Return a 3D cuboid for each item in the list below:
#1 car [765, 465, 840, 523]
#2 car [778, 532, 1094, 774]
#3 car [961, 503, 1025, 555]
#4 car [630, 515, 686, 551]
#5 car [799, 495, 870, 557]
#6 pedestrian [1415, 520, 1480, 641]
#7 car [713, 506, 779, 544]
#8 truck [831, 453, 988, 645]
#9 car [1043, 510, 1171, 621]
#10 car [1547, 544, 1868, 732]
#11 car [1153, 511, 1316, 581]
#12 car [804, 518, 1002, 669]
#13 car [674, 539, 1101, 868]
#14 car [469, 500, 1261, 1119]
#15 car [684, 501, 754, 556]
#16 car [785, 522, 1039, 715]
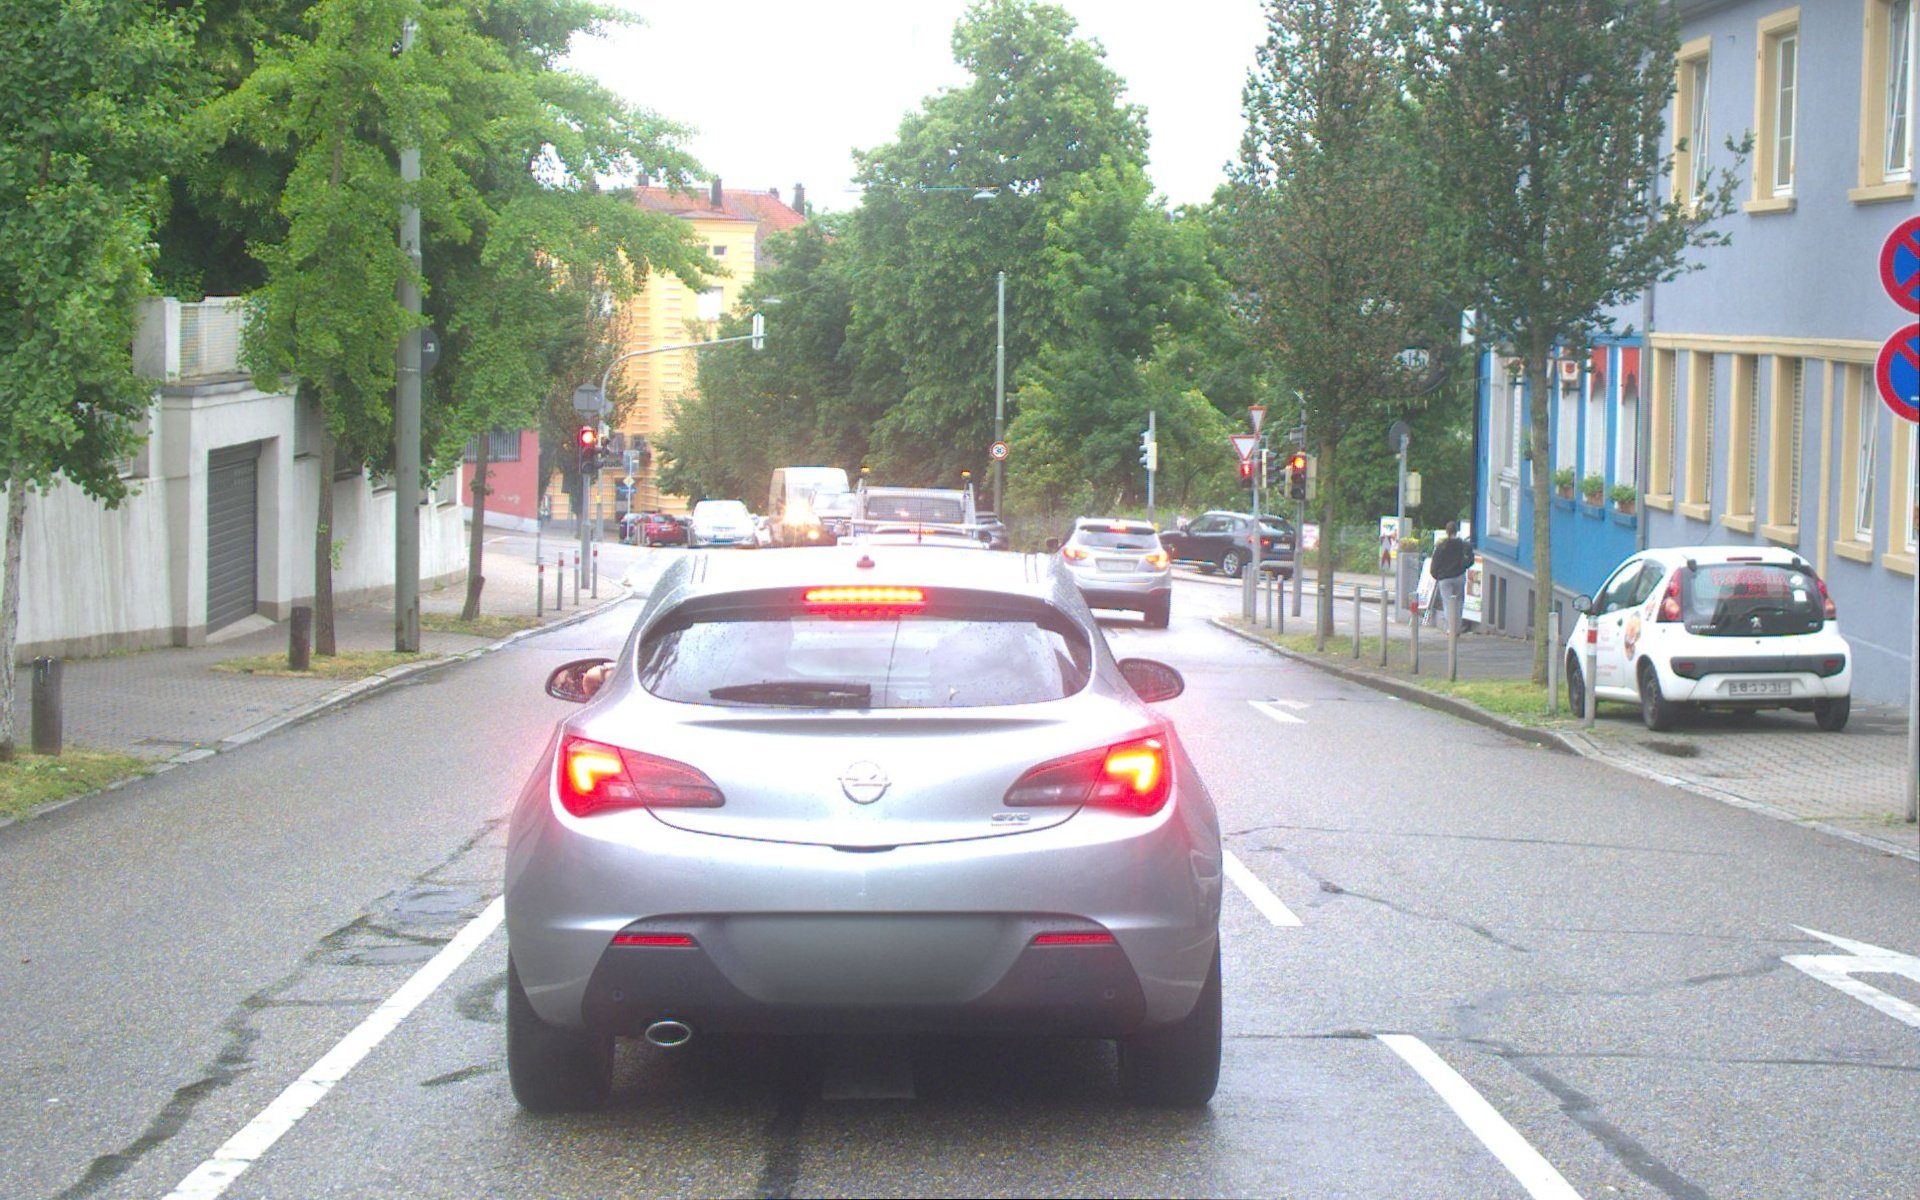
[{"bbox_3d":[-4.611,-3.071,100.243,1.722,1.632,3.881,0,1,-9],"label":"car"},{"bbox_3d":[-0.216,0.298,24.085,1.962,1.443,4.306,2,1,-2],"label":"car"},{"bbox_3d":[1.022,-2.257,108.915,1.722,1.632,3.880,0,1,-4],"label":"car"},{"bbox_3d":[-13.897,-3.086,158.122,1.722,1.632,3.881,0,1,-18],"label":"car"},{"bbox_3d":[-3.377,-1.983,92.623,1.870,1.632,3.880,0,1,-2],"label":"car"},{"bbox_3d":[7.111,-0.292,50.195,0.783,1.723,0.651,2,1,0],"label":"pedestrian"},{"bbox_3d":[-8.692,-3.046,139.352,1.722,1.538,3.881,0,1,-18],"label":"car"},{"bbox_3d":[-0.731,-0.731,47.114,1.962,2.420,4.936,2,1,-2],"label":"truck"},{"bbox_3d":[2.325,-0.574,55.149,1.722,1.708,3.880,0,1,-2],"label":"car"},{"bbox_3d":[6.154,0.264,28.723,1.722,1.443,3.880,0,1,-2],"label":"car"},{"bbox_3d":[6.525,-1.303,81.997,1.723,1.632,3.879,-1,2,-38],"label":"car"},{"bbox_3d":[-0.643,-0.117,37.122,1.962,1.443,4.306,2,1,-2],"label":"car"},{"bbox_3d":[-0.404,0.450,18.365,1.962,1.443,4.306,2,1,-2],"label":"car"},{"bbox_3d":[-0.302,0.453,10.008,1.837,1.429,3.880,1,1,-2],"label":"car"},{"bbox_3d":[-6.471,-1.925,92.604,1.722,1.455,3.880,0,1,-2],"label":"car"},{"bbox_3d":[-0.446,0.099,29.463,1.962,1.443,4.306,2,1,-2],"label":"car"}]
